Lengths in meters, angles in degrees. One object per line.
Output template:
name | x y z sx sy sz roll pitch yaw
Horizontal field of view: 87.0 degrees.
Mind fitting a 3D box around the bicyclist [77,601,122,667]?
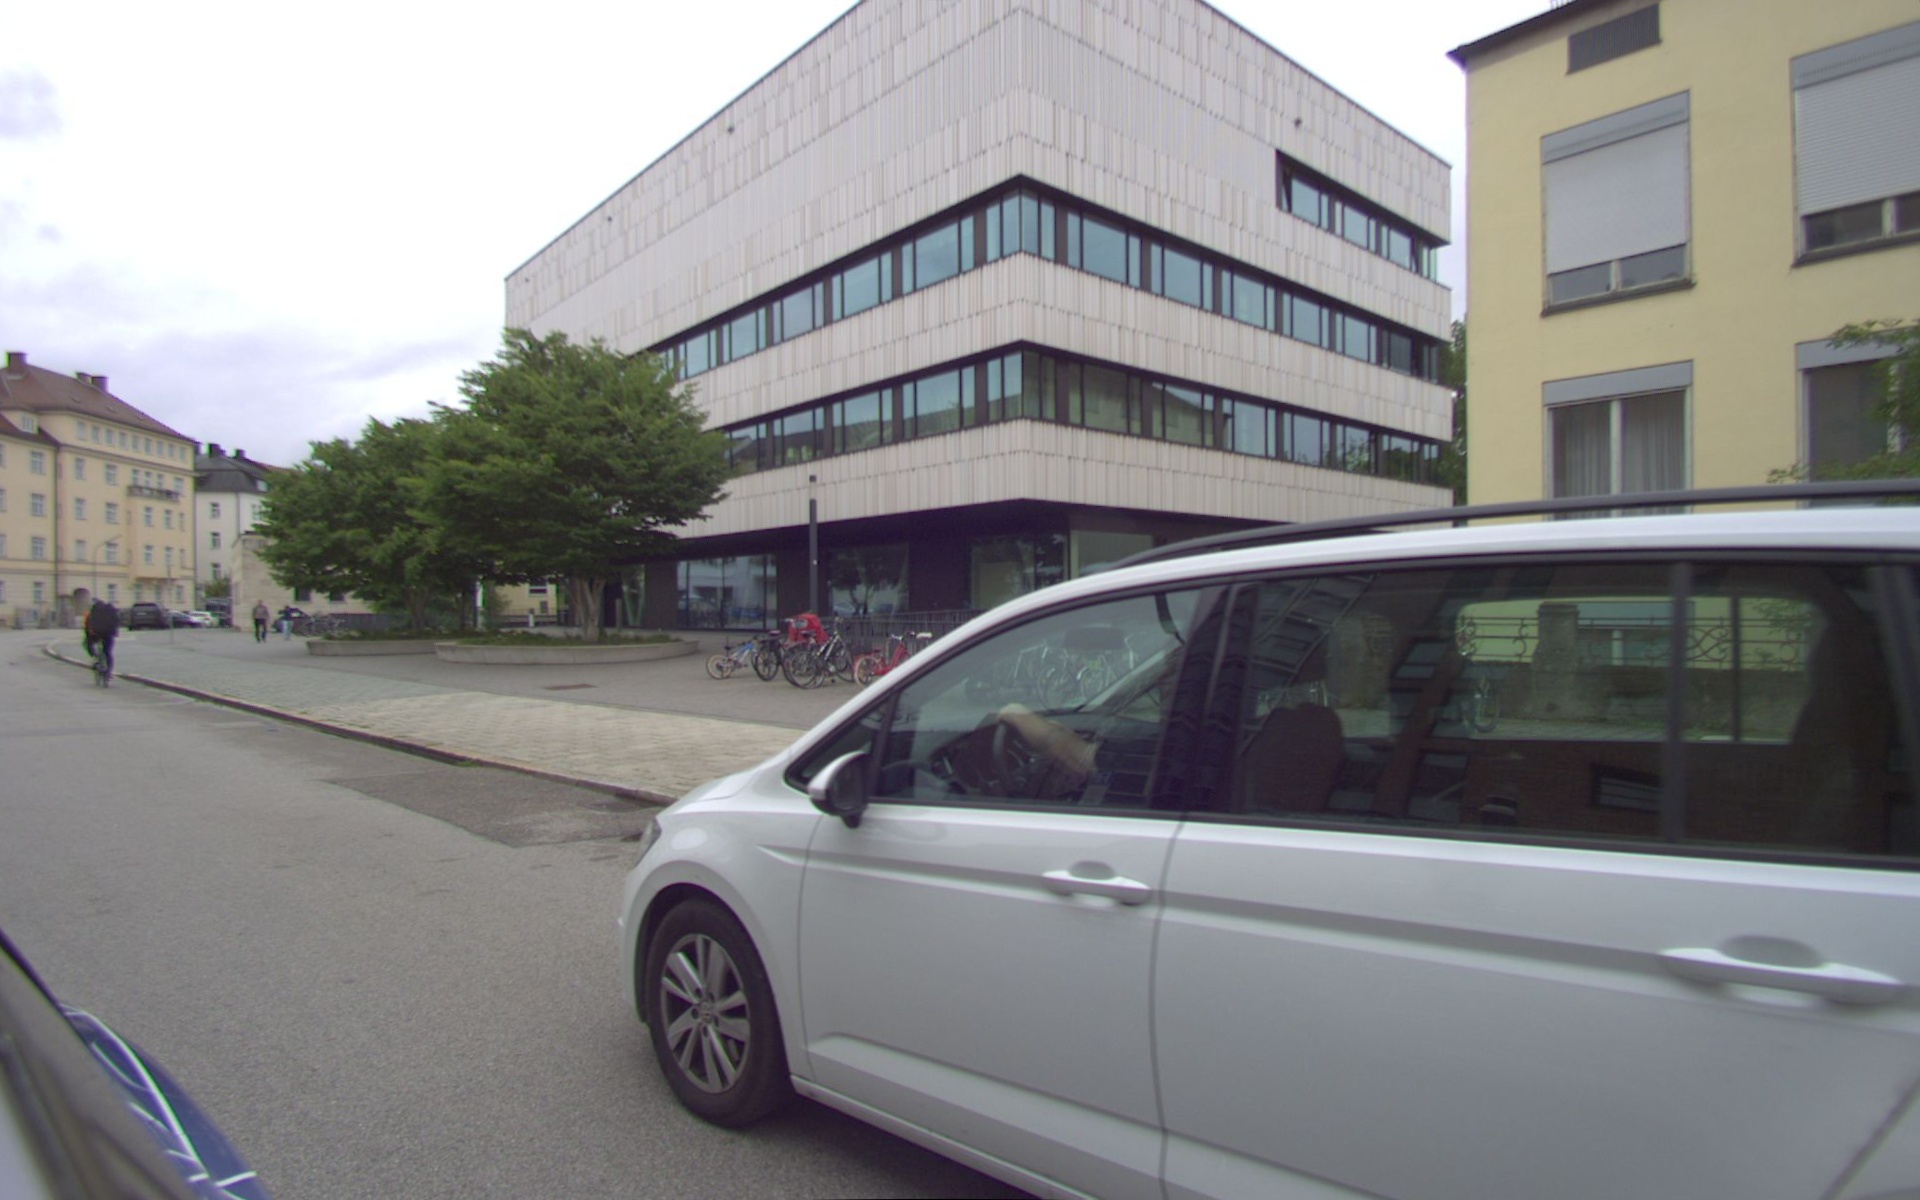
bicyclist | -18.187 0.714 21.391 0.832 1.360 0.610 -1 0 41

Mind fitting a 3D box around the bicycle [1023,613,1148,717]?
bicycle | 1.647 0.794 13.034 1.918 1.225 0.497 -1 0 -45

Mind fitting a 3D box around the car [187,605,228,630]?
car | -62.831 1.436 84.558 1.861 2.029 4.013 -1 0 -23

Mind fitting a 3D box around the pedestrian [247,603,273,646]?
pedestrian | -29.557 1.023 42.719 0.516 1.799 0.777 -1 0 41

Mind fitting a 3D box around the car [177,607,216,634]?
car | -59.145 1.554 78.451 1.862 2.029 4.012 -1 0 -29

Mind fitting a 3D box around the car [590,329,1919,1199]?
car | 0.991 0.534 2.445 4.147 1.686 1.774 -1 0 41

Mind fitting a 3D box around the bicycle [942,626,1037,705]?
bicycle | 0.448 0.925 14.718 0.442 1.019 1.565 -1 1 43

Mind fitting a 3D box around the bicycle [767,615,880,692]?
bicycle | -2.324 0.887 17.398 0.745 1.202 1.889 -1 0 42

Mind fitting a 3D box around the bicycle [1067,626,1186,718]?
bicycle | 2.117 0.867 12.728 1.790 1.031 0.519 -1 0 -45

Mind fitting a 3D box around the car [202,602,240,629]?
car | -65.569 1.341 89.831 1.861 2.374 4.013 -1 0 -23

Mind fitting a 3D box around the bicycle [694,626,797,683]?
bicycle | -4.140 1.036 19.630 0.739 0.934 1.826 -1 2 43

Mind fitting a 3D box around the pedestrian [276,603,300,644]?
pedestrian | -29.966 1.027 45.140 0.516 1.799 0.777 -1 0 41

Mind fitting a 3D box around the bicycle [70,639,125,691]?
bicycle | -18.365 1.358 21.542 1.463 1.056 0.698 -2 -2 41

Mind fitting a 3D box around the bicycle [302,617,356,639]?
bicycle | -30.676 1.352 49.254 0.796 0.999 2.123 -1 0 31

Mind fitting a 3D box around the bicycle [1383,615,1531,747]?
bicycle | 4.891 0.741 9.911 1.787 1.160 0.520 -1 0 -36

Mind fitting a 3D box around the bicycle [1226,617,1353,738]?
bicycle | 3.570 0.784 10.872 1.790 1.160 0.519 -1 0 -44

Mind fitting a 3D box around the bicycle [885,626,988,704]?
bicycle | -0.332 0.935 14.949 1.562 1.024 0.443 -2 1 -38

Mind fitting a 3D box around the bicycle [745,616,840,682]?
bicycle | -3.139 0.900 19.129 1.790 1.160 0.519 -1 0 -44

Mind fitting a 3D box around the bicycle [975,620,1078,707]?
bicycle | 0.962 0.863 14.275 0.501 1.112 1.634 -1 0 44

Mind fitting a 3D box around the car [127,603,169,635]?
car | -54.568 1.248 68.086 1.863 2.029 4.011 -1 0 -34

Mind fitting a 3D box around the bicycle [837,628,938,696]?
bicycle | -1.142 0.967 16.277 0.473 0.970 1.795 -1 0 42
